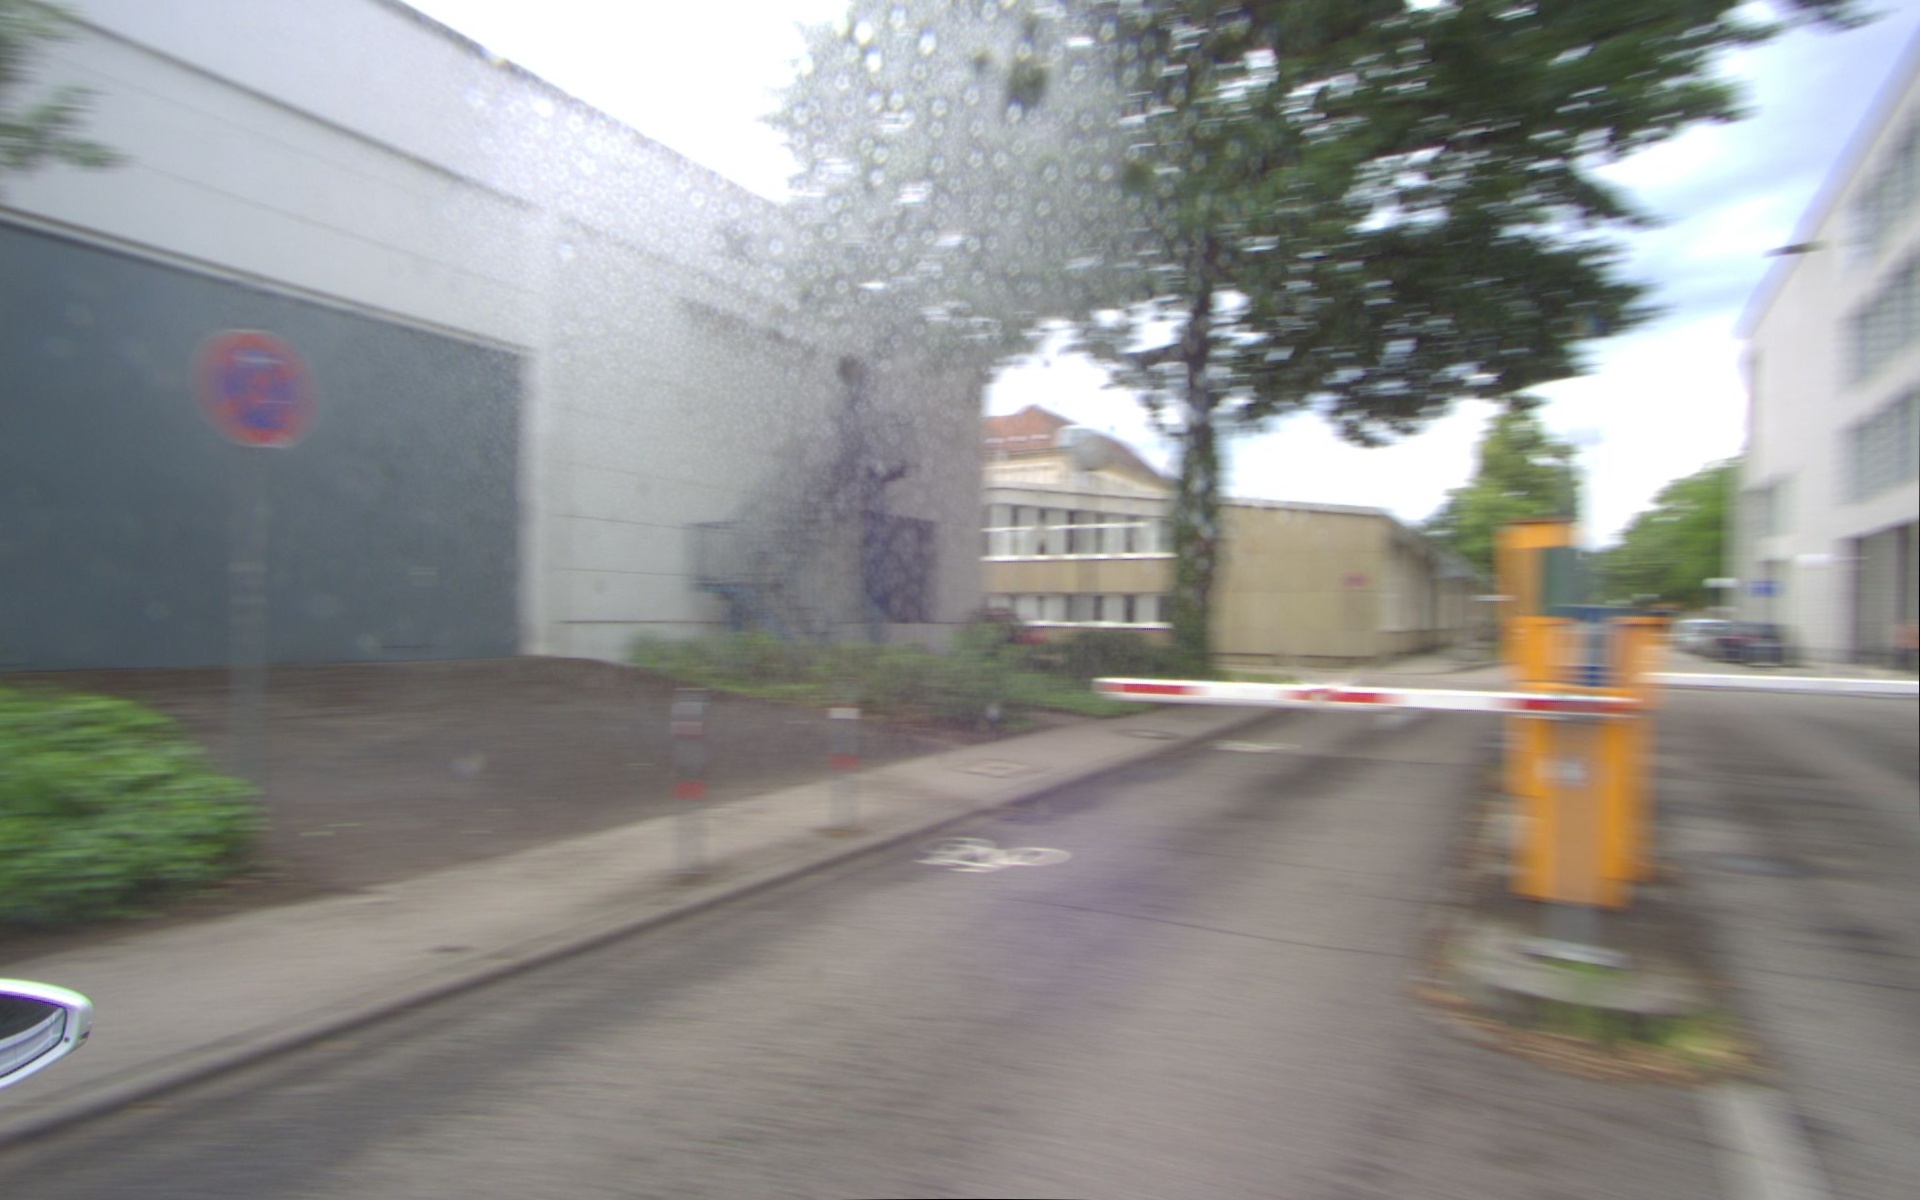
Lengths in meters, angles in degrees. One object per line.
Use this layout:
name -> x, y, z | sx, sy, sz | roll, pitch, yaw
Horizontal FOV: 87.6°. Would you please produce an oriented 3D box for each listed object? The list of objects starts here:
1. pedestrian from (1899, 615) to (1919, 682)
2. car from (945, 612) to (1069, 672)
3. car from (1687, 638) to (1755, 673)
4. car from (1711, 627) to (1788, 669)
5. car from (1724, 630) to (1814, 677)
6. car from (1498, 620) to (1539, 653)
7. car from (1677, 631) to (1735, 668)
pedestrian -> 25.124, 1.276, 26.225 | 0.689, 1.737, 0.486 | 1, 0, 36
car -> 1.399, 1.153, 28.338 | 1.841, 1.550, 3.982 | 1, -1, 31
car -> 35.034, 2.527, 46.225 | 1.971, 1.482, 4.408 | -1, -2, 31
car -> 32.650, 1.949, 41.536 | 1.971, 1.643, 4.407 | -1, -2, 31
car -> 30.326, 1.987, 37.673 | 1.970, 1.643, 4.409 | -1, -2, 30
car -> 29.291, 1.890, 52.467 | 1.749, 1.622, 3.982 | 1, -1, 30
car -> 38.861, 2.553, 52.258 | 1.971, 1.804, 4.408 | -1, -2, 31
